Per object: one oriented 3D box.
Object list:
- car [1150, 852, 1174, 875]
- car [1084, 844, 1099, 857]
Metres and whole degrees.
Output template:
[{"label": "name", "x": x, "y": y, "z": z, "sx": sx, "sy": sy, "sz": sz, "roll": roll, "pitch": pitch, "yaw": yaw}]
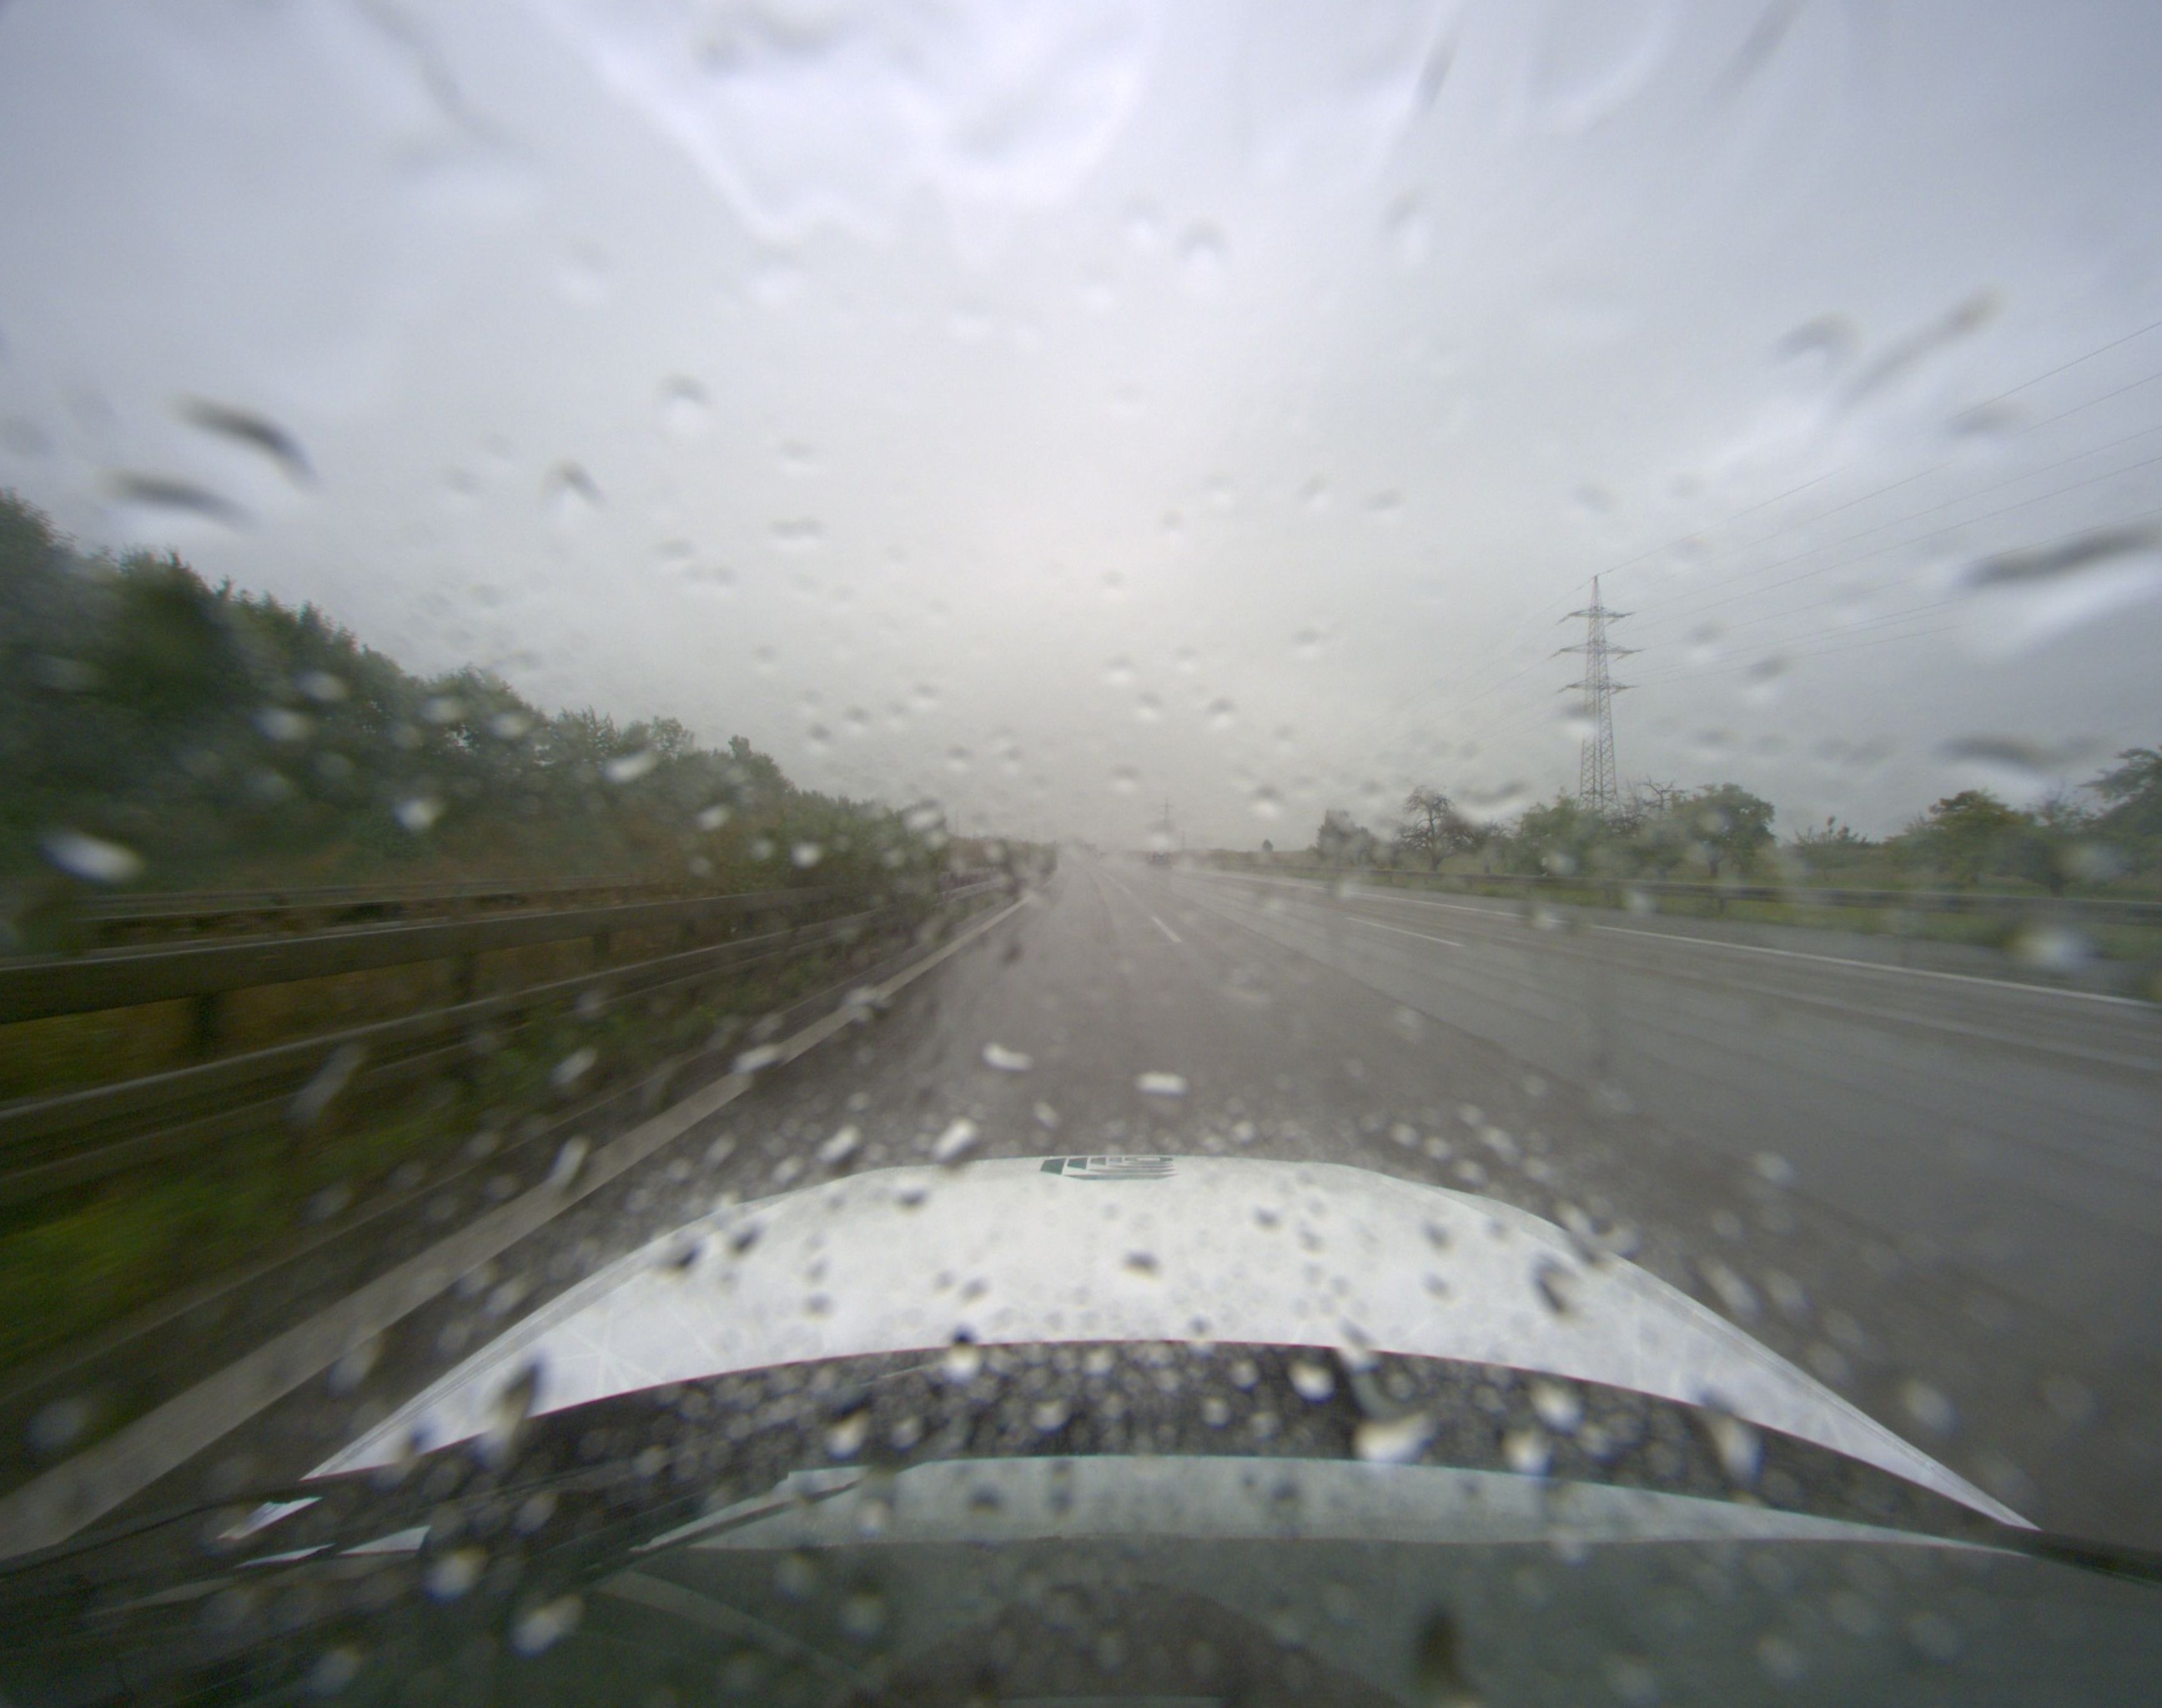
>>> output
[{"label": "car", "x": 7.872, "y": 0.929, "z": 79.530, "sx": 1.802, "sy": 2.158, "sz": 3.997, "roll": 0, "pitch": 0, "yaw": -2}, {"label": "car", "x": 2.673, "y": -0.883, "z": 209.781, "sx": 3.193, "sy": 3.193, "sz": 7.248, "roll": 0, "pitch": 0, "yaw": -3}]
